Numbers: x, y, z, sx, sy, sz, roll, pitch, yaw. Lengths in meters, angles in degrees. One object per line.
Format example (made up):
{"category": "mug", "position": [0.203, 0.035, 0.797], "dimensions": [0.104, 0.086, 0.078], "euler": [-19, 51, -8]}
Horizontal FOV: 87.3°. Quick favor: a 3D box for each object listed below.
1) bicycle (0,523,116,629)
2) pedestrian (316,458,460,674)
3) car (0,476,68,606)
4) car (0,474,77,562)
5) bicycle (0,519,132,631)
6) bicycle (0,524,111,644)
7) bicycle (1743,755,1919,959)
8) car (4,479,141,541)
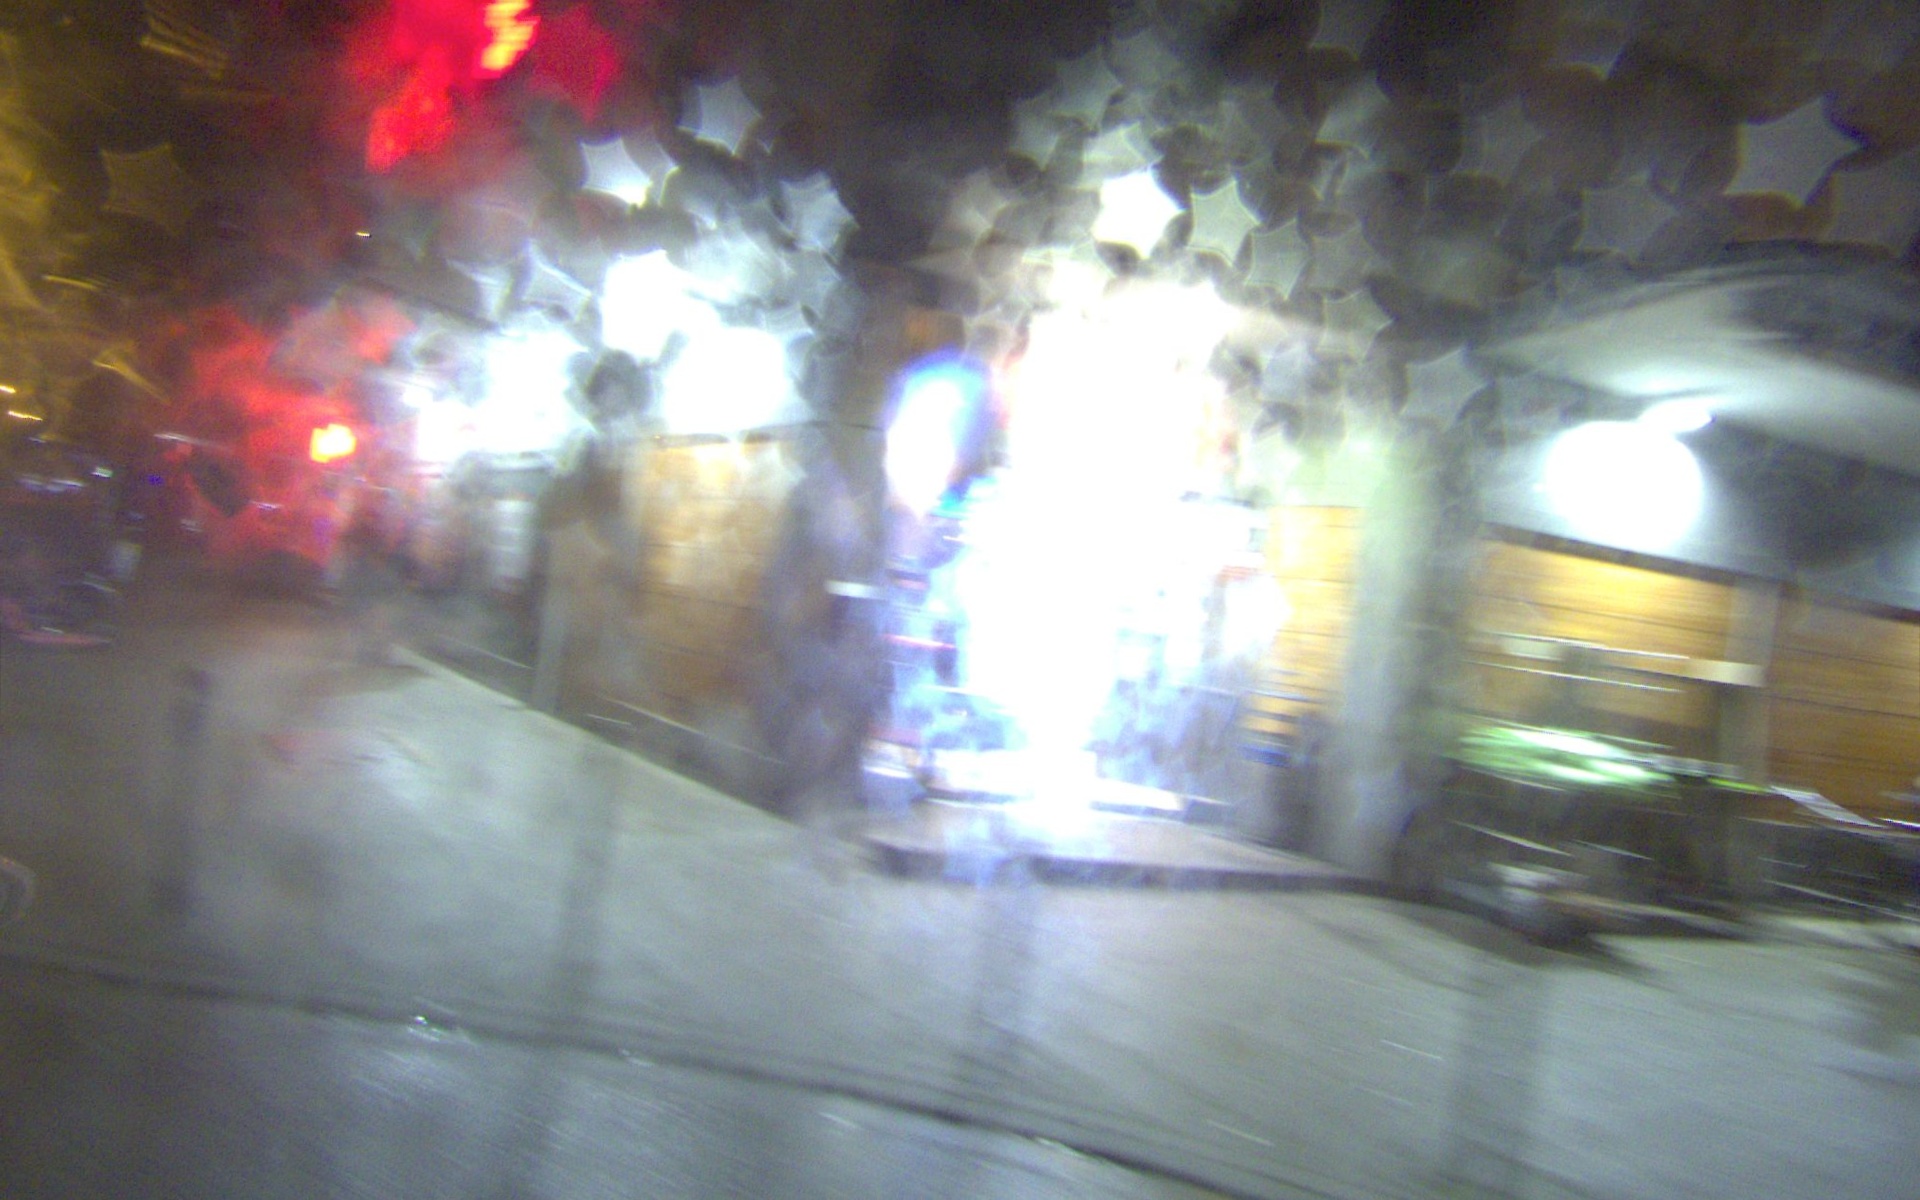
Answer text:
{"category": "bicycle", "position": [-10.837, -0.289, 11.509], "dimensions": [1.755, 1.140, 0.430], "euler": [3, 4, -44]}
{"category": "pedestrian", "position": [-6.421, -0.366, 11.292], "dimensions": [1.050, 2.236, 0.958], "euler": [6, 1, -42]}
{"category": "car", "position": [-13.861, -0.969, 14.152], "dimensions": [1.749, 1.583, 4.104], "euler": [10, -2, -43]}
{"category": "car", "position": [-20.671, -1.852, 22.046], "dimensions": [1.749, 1.626, 3.941], "euler": [10, -2, -43]}
{"category": "bicycle", "position": [-10.338, -0.301, 11.086], "dimensions": [1.757, 1.092, 0.430], "euler": [8, 0, -44]}
{"category": "bicycle", "position": [-9.884, -0.202, 10.254], "dimensions": [1.778, 1.139, 0.430], "euler": [8, 1, -44]}
{"category": "bicycle", "position": [6.214, 1.772, 6.852], "dimensions": [1.622, 1.186, 0.383], "euler": [10, -3, -14]}
{"category": "car", "position": [-38.840, -3.904, 44.121], "dimensions": [1.967, 2.037, 3.993], "euler": [6, -1, 32]}
